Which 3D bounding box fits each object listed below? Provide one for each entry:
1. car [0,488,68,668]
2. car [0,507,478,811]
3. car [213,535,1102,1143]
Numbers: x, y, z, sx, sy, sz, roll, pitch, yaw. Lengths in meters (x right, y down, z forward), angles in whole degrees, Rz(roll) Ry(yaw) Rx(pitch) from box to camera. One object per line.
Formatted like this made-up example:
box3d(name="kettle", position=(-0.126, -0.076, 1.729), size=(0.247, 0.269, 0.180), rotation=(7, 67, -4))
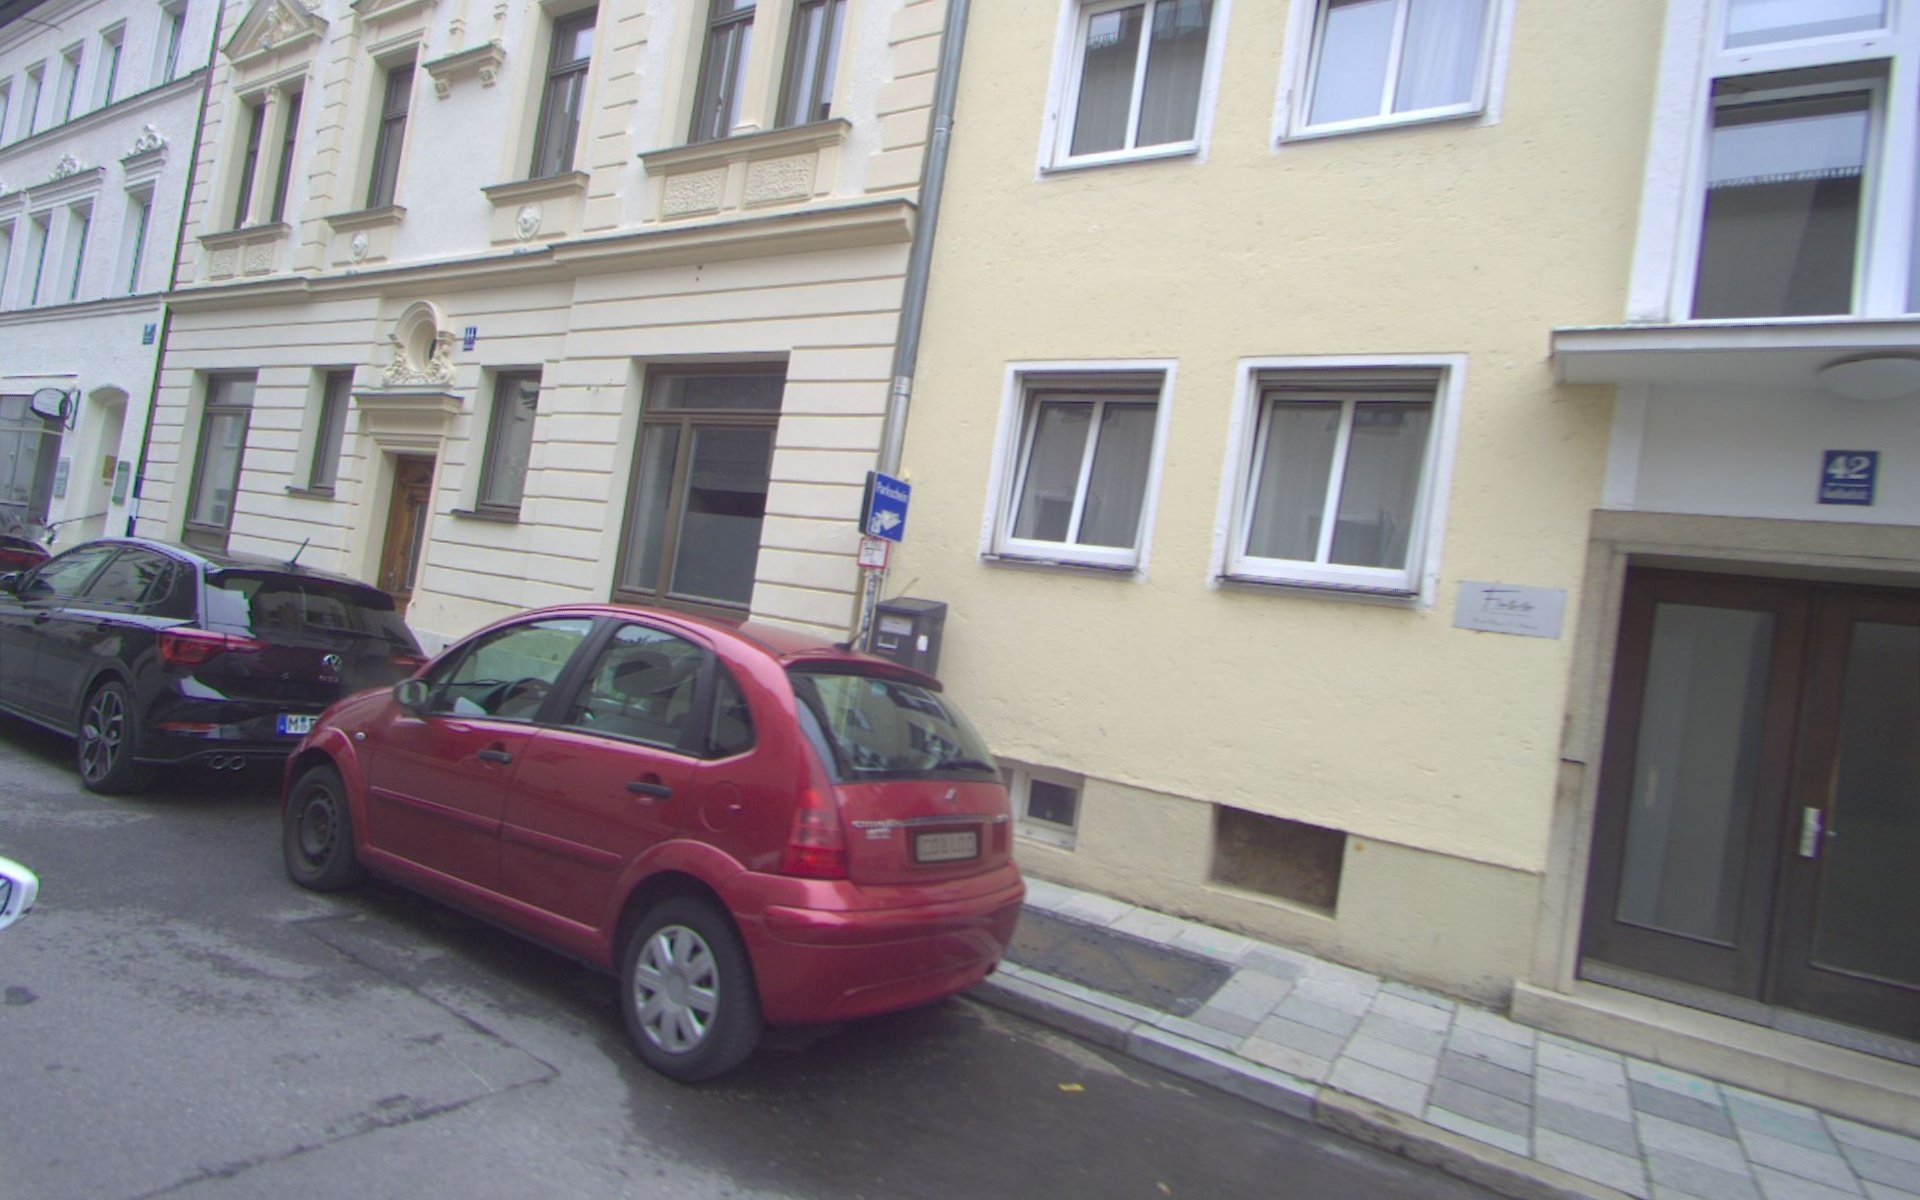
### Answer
box3d(name="car", position=(-11.007, -0.503, 10.067), size=(4.607, 1.624, 1.706), rotation=(7, -3, 32))
box3d(name="car", position=(-5.362, 0.273, 6.896), size=(3.998, 1.408, 1.680), rotation=(7, -3, 32))
box3d(name="car", position=(-1.509, 0.732, 4.646), size=(3.789, 1.508, 1.680), rotation=(7, -3, 32))
